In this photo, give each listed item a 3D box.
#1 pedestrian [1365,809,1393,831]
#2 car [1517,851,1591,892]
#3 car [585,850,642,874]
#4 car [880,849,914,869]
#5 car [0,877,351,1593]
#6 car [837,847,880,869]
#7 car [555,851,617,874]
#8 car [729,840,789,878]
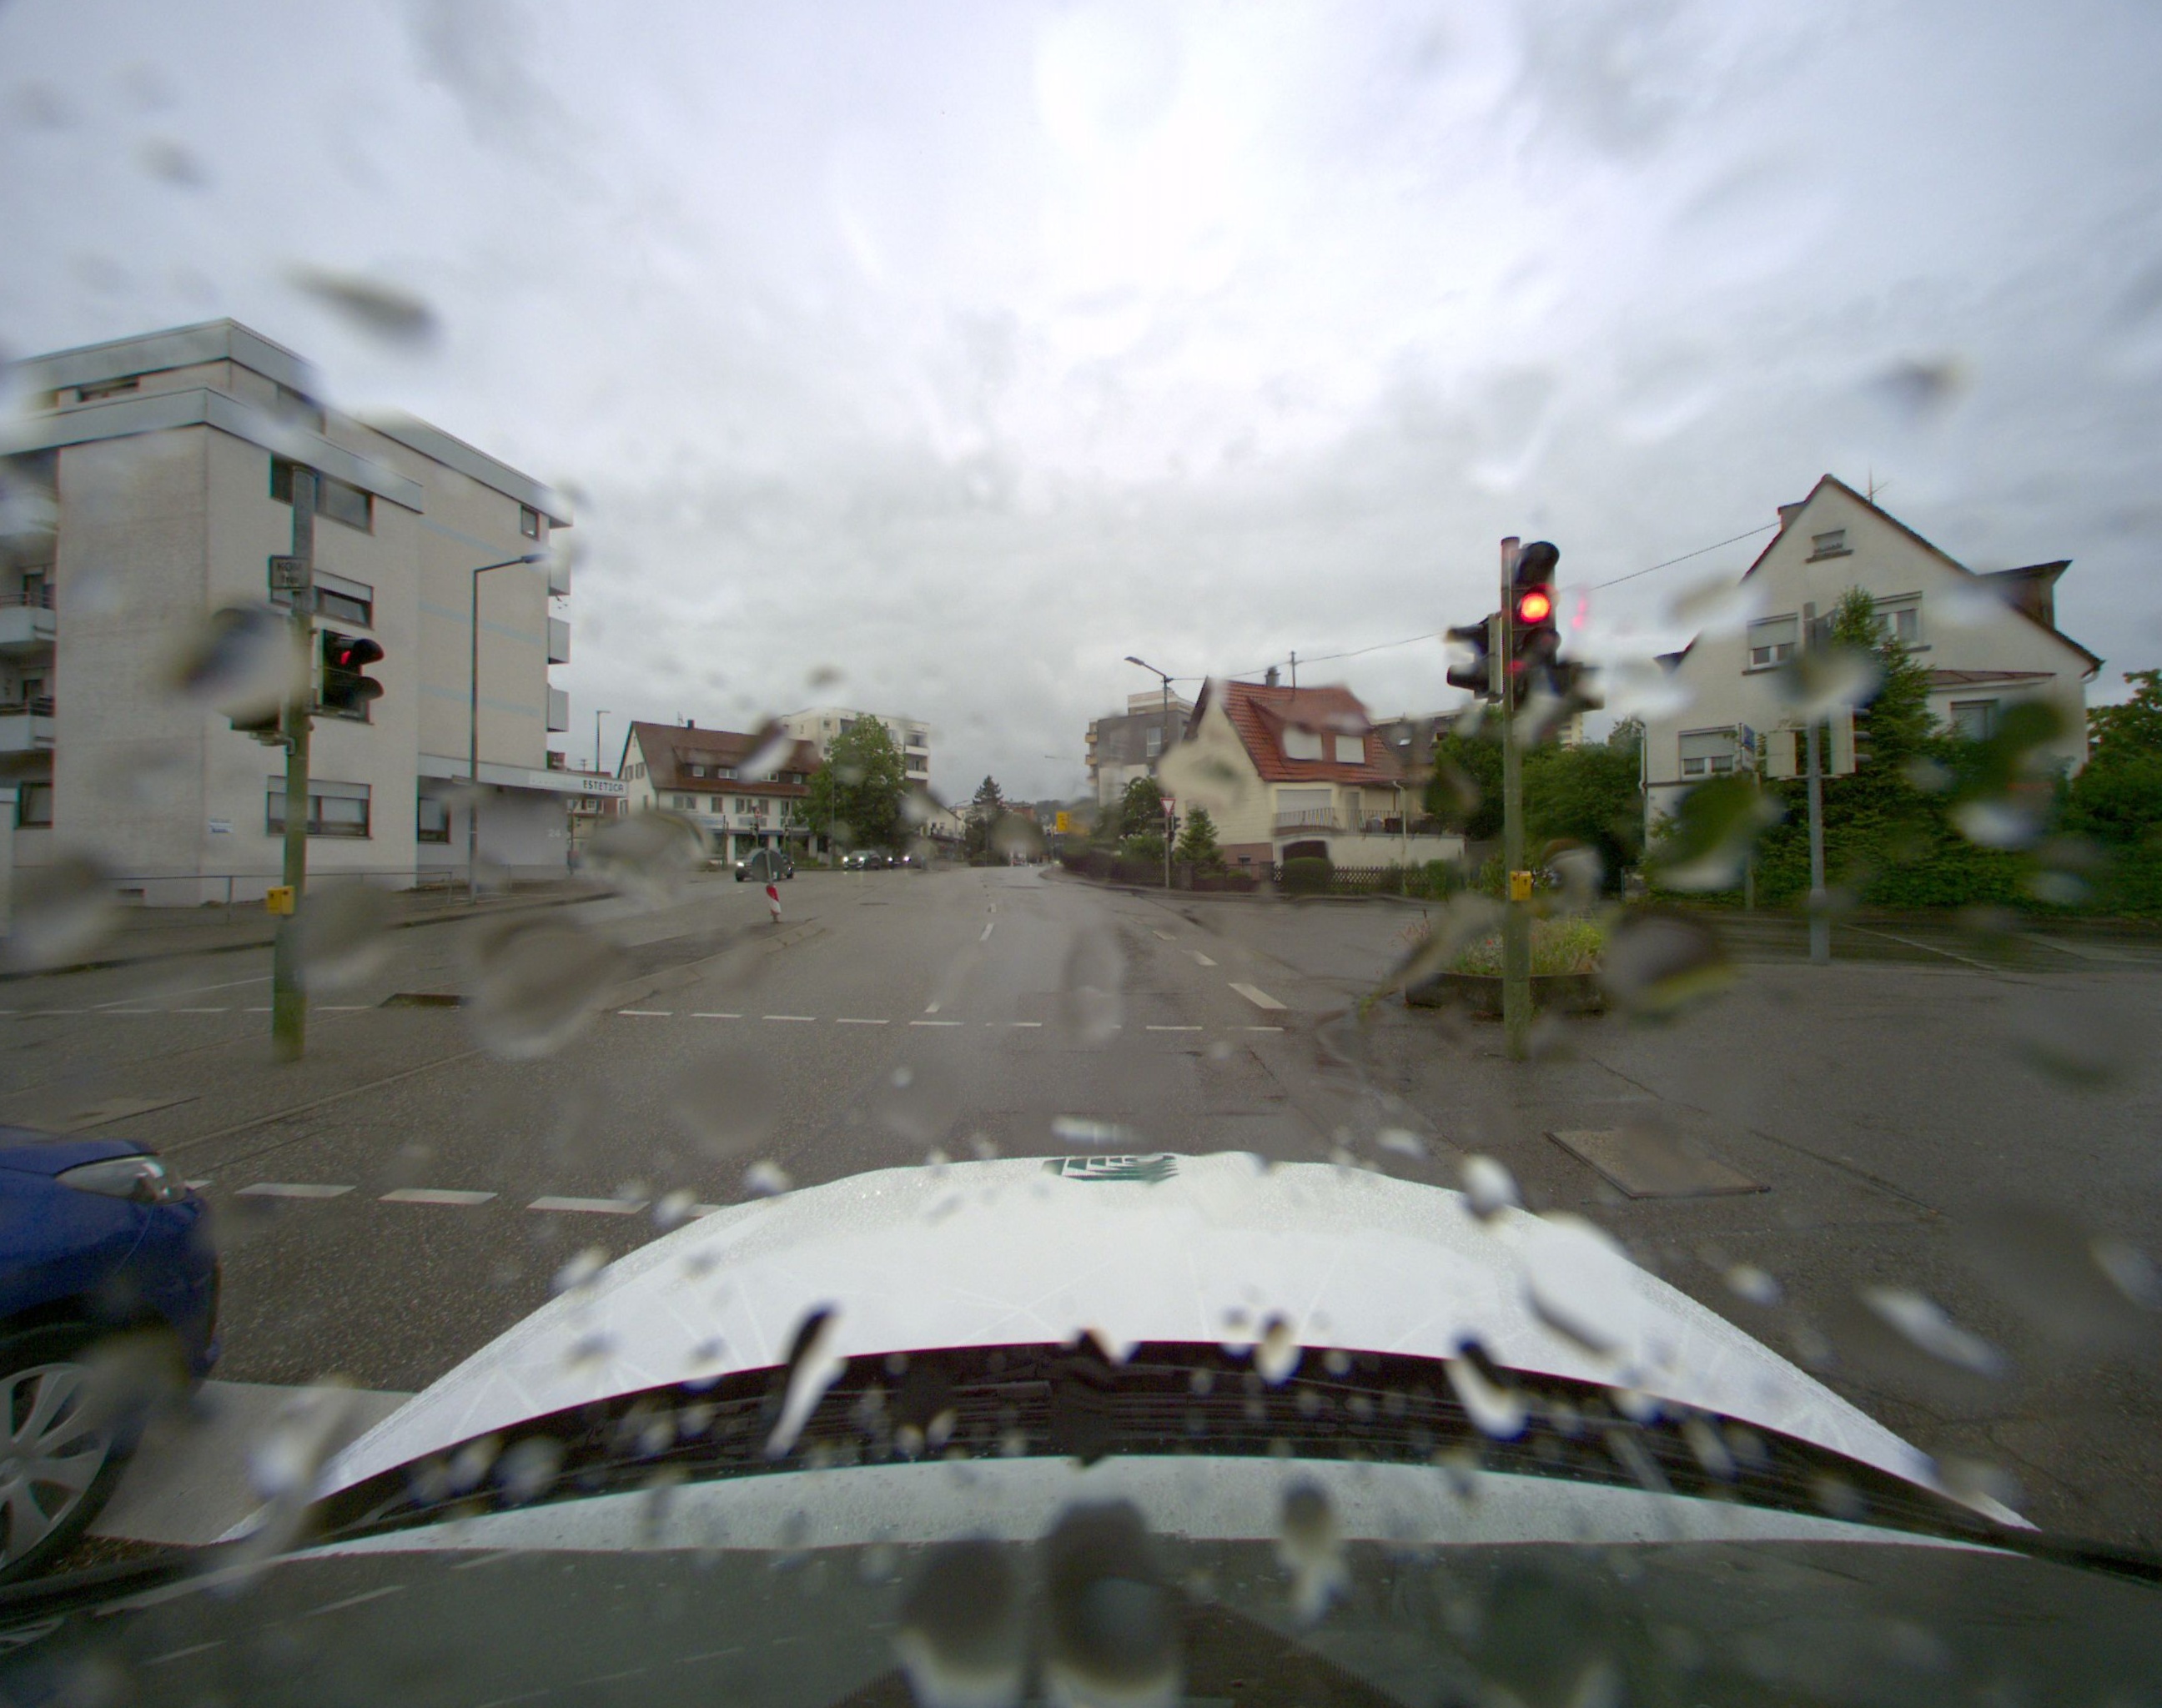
[{"bbox_3d":[12.767,-1.433,34.856,0.918,0.883,0.632,0,-3,-18],"label":"pedestrian"},{"bbox_3d":[17.107,0.598,29.371,1.794,1.362,4.025,-1,-1,37],"label":"car"},{"bbox_3d":[-38.444,0.634,66.982,3.706,1.920,1.864,0,-1,-44],"label":"car"},{"bbox_3d":[-15.398,0.415,68.436,1.873,1.597,4.184,0,0,0],"label":"car"},{"bbox_3d":[-2.957,0.789,0.726,1.499,1.413,3.365,0,0,2],"label":"car"},{"bbox_3d":[-15.829,0.281,58.162,1.960,1.512,3.999,0,0,0],"label":"car"},{"bbox_3d":[-41.218,0.673,67.805,4.093,1.843,1.864,0,-1,-44],"label":"car"},{"bbox_3d":[-14.740,0.227,37.147,2.006,1.625,4.496,0,-1,-29],"label":"car"}]
